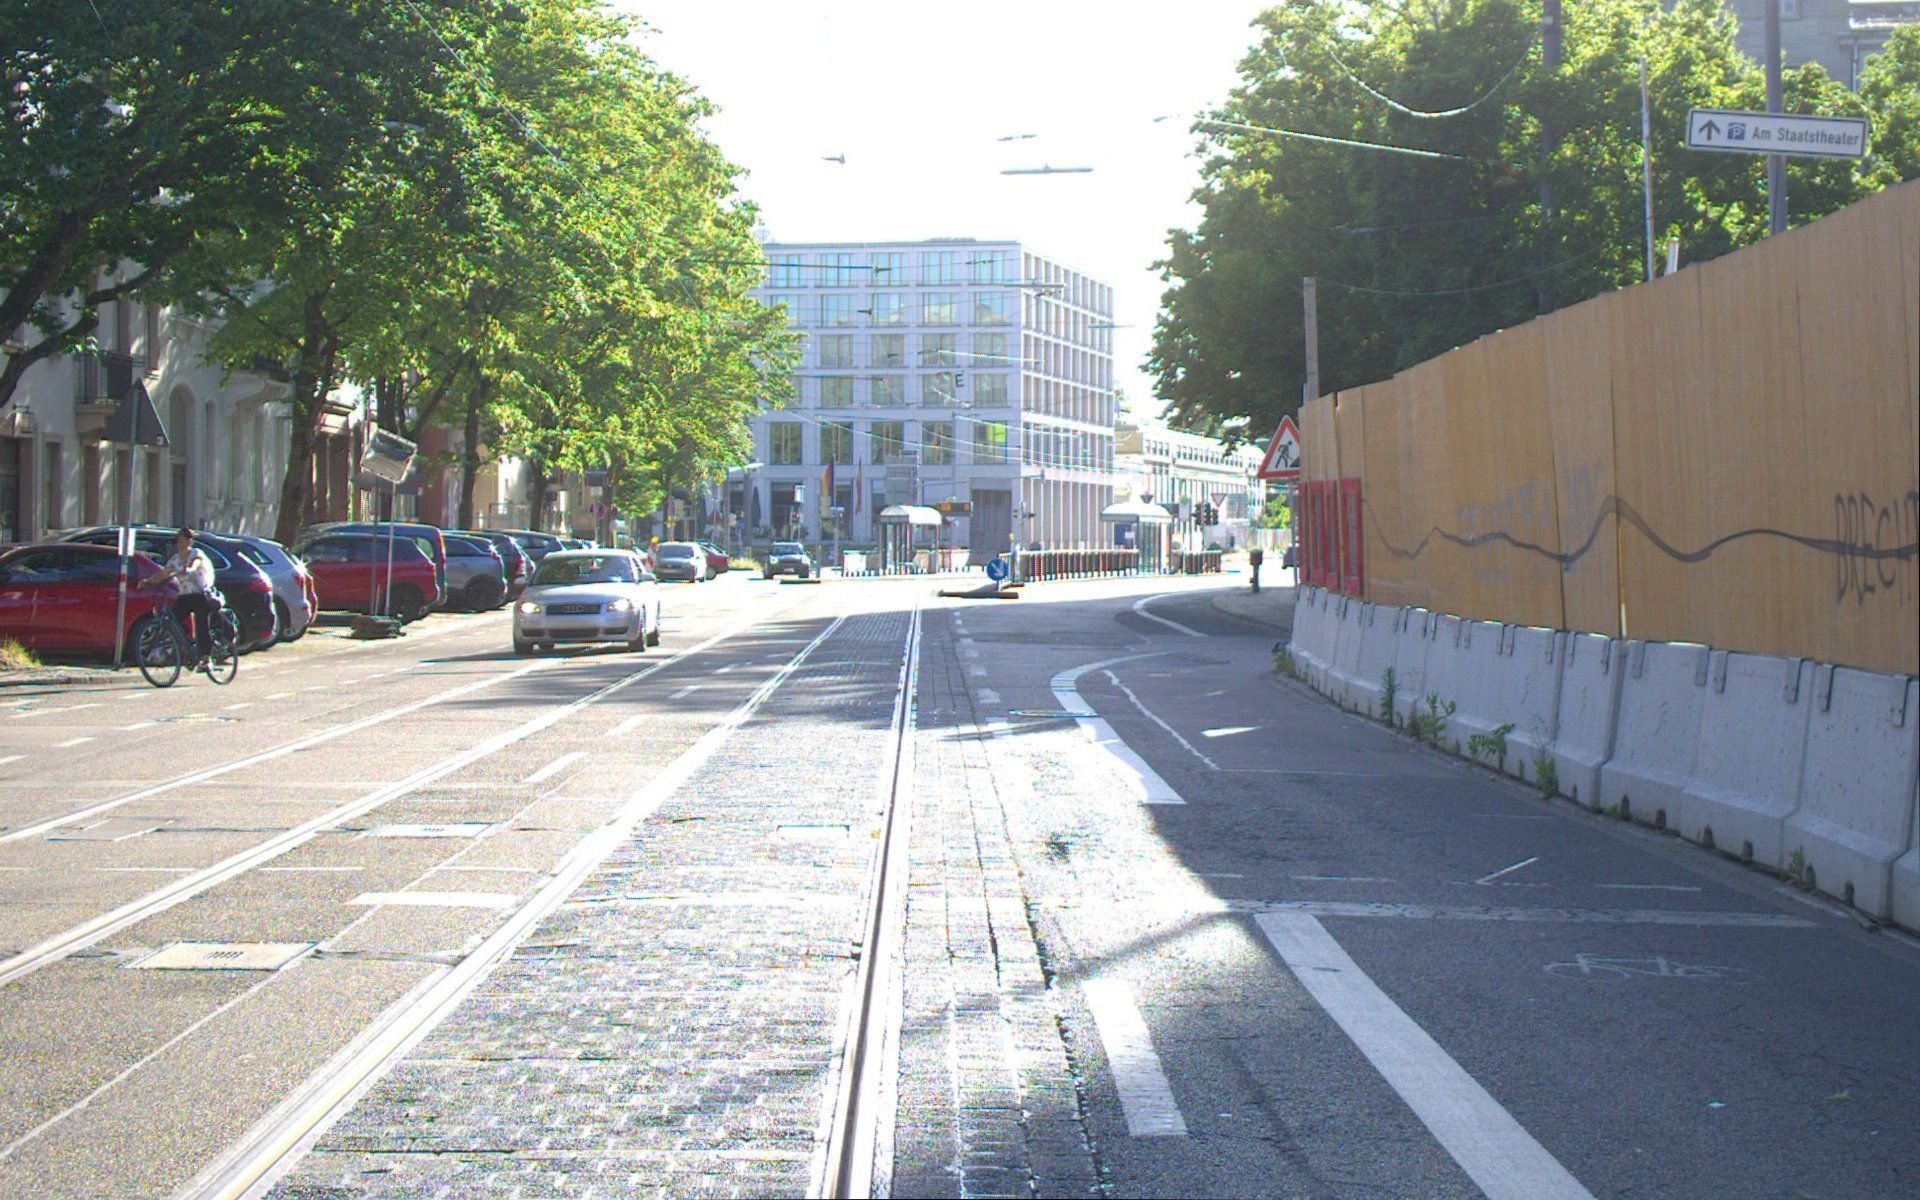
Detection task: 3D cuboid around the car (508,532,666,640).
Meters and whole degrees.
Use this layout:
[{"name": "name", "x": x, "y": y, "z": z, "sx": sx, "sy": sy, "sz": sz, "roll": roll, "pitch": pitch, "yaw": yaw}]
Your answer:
[{"name": "car", "x": -5.133, "y": -0.227, "z": 47.738, "sx": 1.709, "sy": 1.431, "sz": 4.171, "roll": 0, "pitch": 1, "yaw": 1}]

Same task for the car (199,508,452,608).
[{"name": "car", "x": -11.391, "y": -0.750, "z": 61.741, "sx": 4.159, "sy": 1.715, "sz": 1.584, "roll": 1, "pitch": 1, "yaw": -27}]

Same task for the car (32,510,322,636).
[{"name": "car", "x": -11.095, "y": -0.396, "z": 48.811, "sx": 3.674, "sy": 1.715, "sz": 1.611, "roll": 0, "pitch": 1, "yaw": -35}]

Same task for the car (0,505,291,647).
[{"name": "car", "x": -10.479, "y": -0.315, "z": 43.319, "sx": 3.674, "sy": 1.715, "sz": 1.611, "roll": 0, "pitch": 1, "yaw": -35}]

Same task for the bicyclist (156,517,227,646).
[{"name": "bicyclist", "x": -8.227, "y": -0.204, "z": 36.819, "sx": 0.458, "sy": 1.373, "sz": 0.640, "roll": 1, "pitch": 1, "yaw": 24}]

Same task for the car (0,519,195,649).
[{"name": "car", "x": -11.151, "y": -0.210, "z": 40.288, "sx": 3.901, "sy": 1.448, "sz": 1.638, "roll": 2, "pitch": 0, "yaw": -34}]

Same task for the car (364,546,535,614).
[{"name": "car", "x": -11.015, "y": -0.431, "z": 74.199, "sx": 3.372, "sy": 1.415, "sz": 1.405, "roll": 0, "pitch": 1, "yaw": -28}]

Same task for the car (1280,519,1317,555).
[{"name": "car", "x": 18.786, "y": -3.503, "z": 190.640, "sx": 1.994, "sy": 2.007, "sz": 3.999, "roll": 0, "pitch": 1, "yaw": 7}]

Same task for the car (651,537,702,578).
[{"name": "car", "x": -10.549, "y": -1.594, "z": 128.023, "sx": 1.573, "sy": 1.485, "sz": 4.000, "roll": 0, "pitch": 1, "yaw": 0}]

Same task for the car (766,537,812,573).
[{"name": "car", "x": -7.463, "y": -1.973, "z": 150.063, "sx": 1.558, "sy": 1.525, "sz": 4.000, "roll": 0, "pitch": 1, "yaw": 4}]

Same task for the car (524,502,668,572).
[{"name": "car", "x": -9.038, "y": -1.569, "z": 85.436, "sx": 3.270, "sy": 1.692, "sz": 1.470, "roll": 0, "pitch": 1, "yaw": -22}]

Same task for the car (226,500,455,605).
[{"name": "car", "x": -11.665, "y": -0.895, "z": 64.808, "sx": 3.828, "sy": 1.826, "sz": 1.732, "roll": 2, "pitch": 0, "yaw": -30}]

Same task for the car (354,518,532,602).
[{"name": "car", "x": -10.764, "y": -0.826, "z": 71.572, "sx": 3.372, "sy": 1.692, "sz": 1.405, "roll": 0, "pitch": 1, "yaw": -28}]

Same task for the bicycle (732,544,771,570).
[{"name": "bicycle", "x": -9.845, "y": -2.015, "z": 162.305, "sx": 1.793, "sy": 1.219, "sz": 0.599, "roll": 0, "pitch": 1, "yaw": -8}]

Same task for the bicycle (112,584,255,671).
[{"name": "bicycle", "x": -8.283, "y": 0.285, "z": 36.747, "sx": 0.449, "sy": 0.878, "sz": 1.899, "roll": 1, "pitch": 1, "yaw": 24}]

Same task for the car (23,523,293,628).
[{"name": "car", "x": -12.077, "y": -0.386, "z": 51.837, "sx": 3.674, "sy": 1.522, "sz": 1.483, "roll": 0, "pitch": 1, "yaw": -35}]
